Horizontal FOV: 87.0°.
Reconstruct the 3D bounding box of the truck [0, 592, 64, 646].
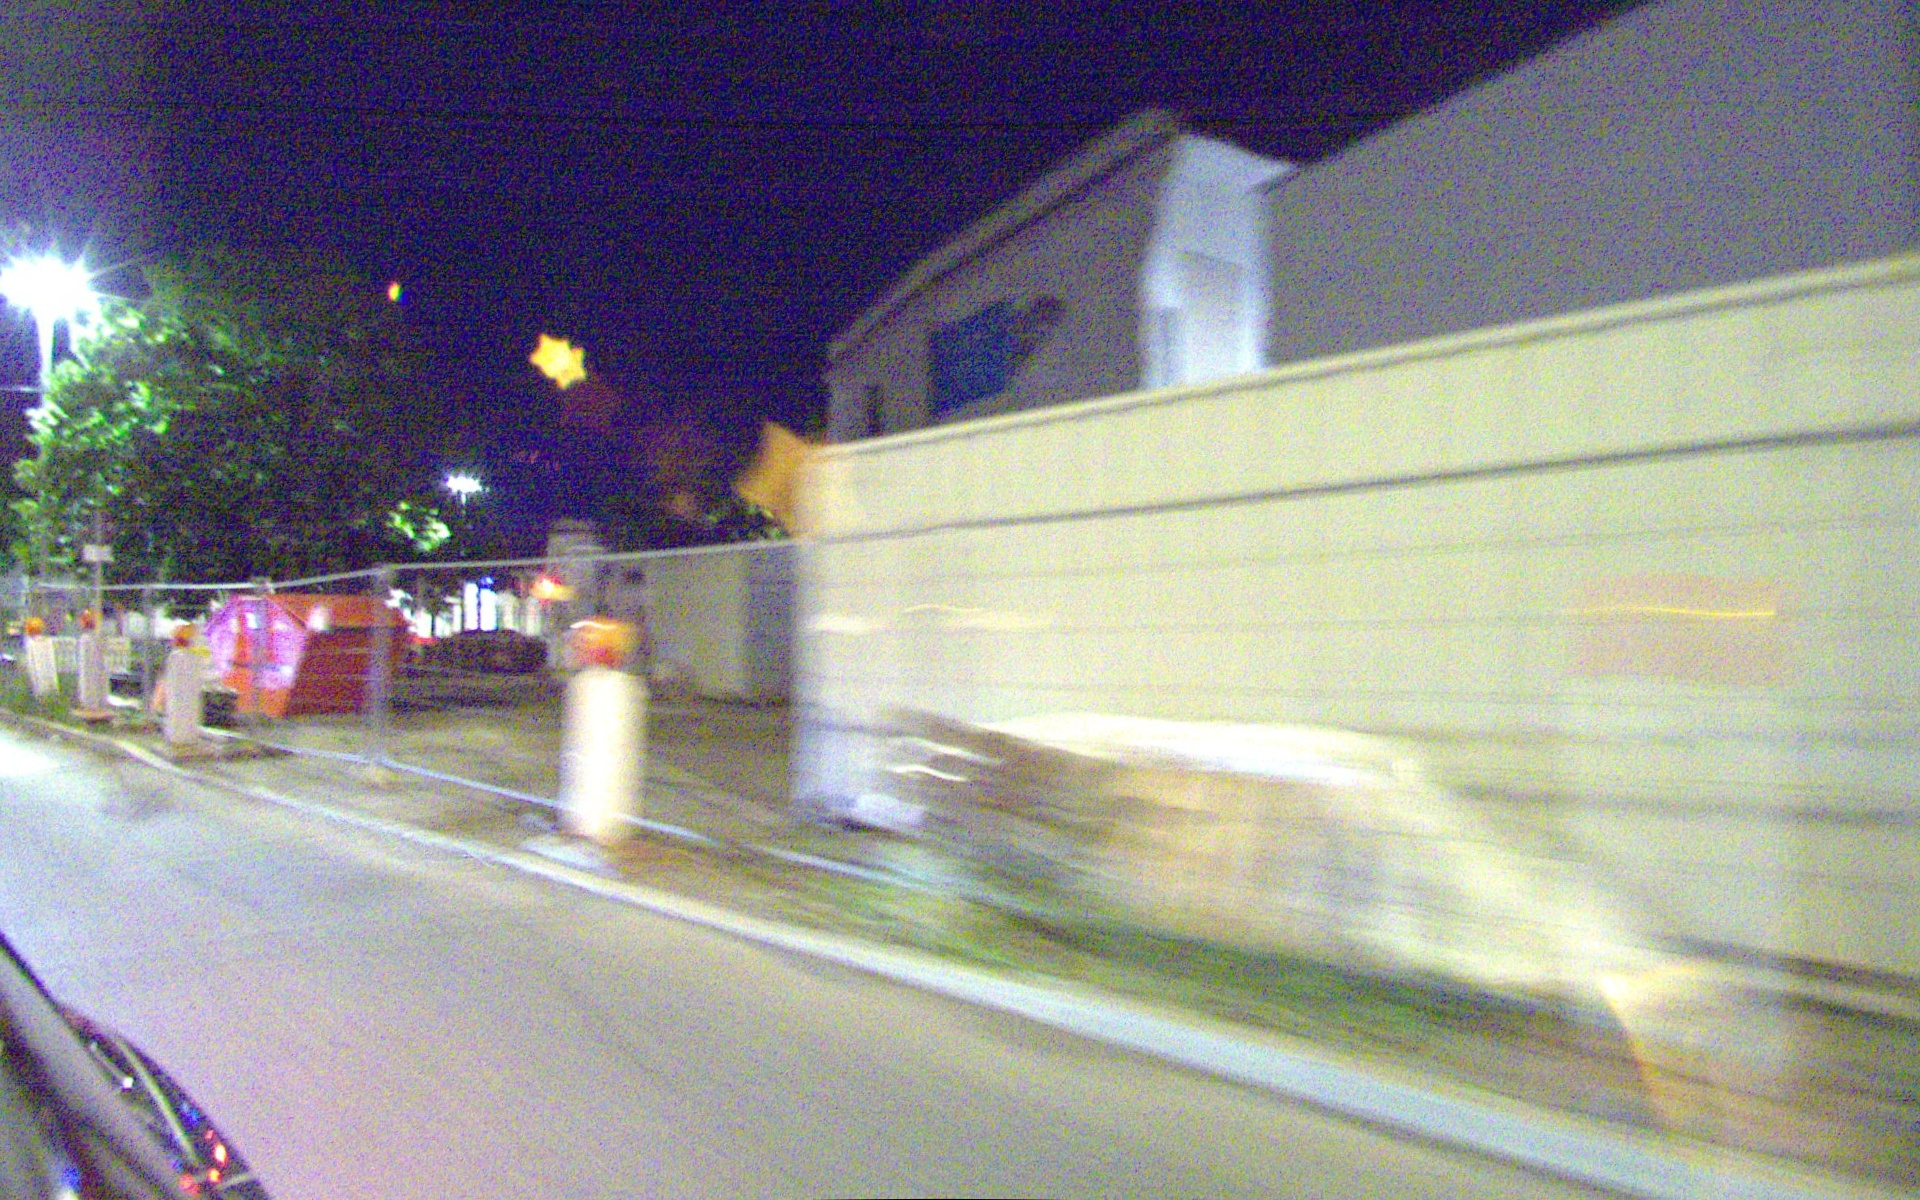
[{"bbox_3d":[-66.430,1.313,70.323,6.108,3.722,2.406,1,-2,-39],"label":"truck"}]
